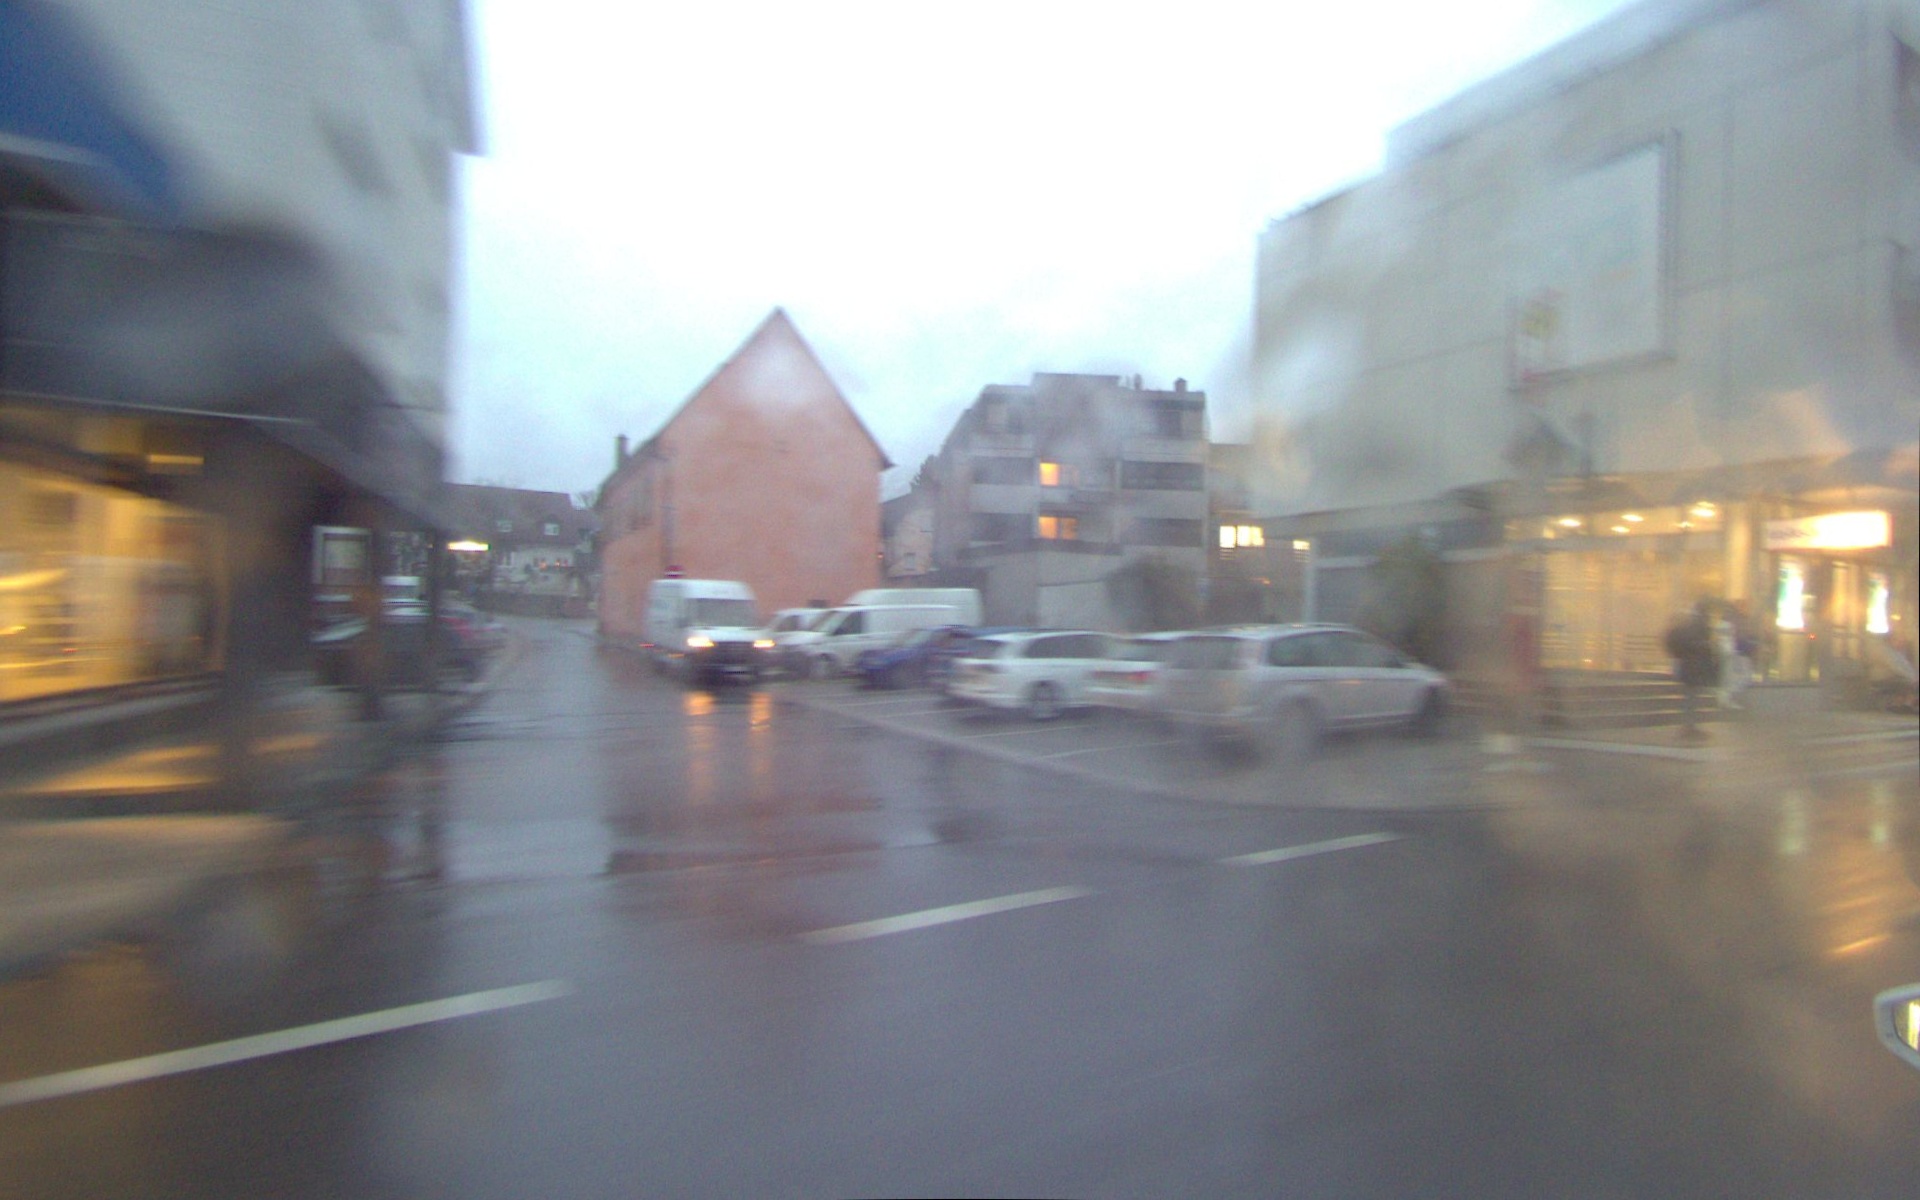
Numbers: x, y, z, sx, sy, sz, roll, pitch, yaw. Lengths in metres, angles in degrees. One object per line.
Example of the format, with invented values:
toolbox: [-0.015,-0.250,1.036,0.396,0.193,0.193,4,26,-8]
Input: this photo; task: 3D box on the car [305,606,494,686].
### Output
car: [-14.420,1.129,25.999,1.679,1.896,3.950,-1,-1,42]

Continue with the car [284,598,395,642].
car: [-27.890,0.882,45.239,1.679,1.909,3.950,-1,-1,42]

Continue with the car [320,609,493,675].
car: [-15.507,1.127,28.270,1.679,1.675,3.950,-1,-1,42]

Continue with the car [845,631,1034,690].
car: [-0.504,1.450,24.842,4.385,1.251,1.694,-1,-1,-22]

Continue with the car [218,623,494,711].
car: [-11.876,1.246,20.004,1.679,1.483,4.426,-1,-1,42]

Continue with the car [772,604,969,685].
car: [-2.401,1.151,27.424,5.098,1.990,1.691,0,-1,-28]

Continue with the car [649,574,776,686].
car: [-6.967,0.831,27.627,1.951,2.697,6.721,2,-2,-26]

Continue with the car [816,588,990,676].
car: [-1.711,0.911,30.779,5.095,2.525,1.692,0,-1,-27]

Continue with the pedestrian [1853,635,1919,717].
pedestrian: [16.111,1.298,17.363,0.819,1.328,0.752,1,1,-30]

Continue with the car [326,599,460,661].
car: [-20.611,1.057,36.625,1.679,2.122,3.950,-1,-1,42]

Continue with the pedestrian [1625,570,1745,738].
pedestrian: [8.954,0.641,12.463,0.957,1.964,1.202,0,-1,23]

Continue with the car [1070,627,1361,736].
car: [4.019,1.179,15.668,4.392,1.419,1.691,0,-1,-27]

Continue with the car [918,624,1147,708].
car: [1.494,1.269,20.471,4.387,1.483,1.694,-1,-1,-24]

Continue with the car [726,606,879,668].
car: [-5.444,1.232,34.828,4.934,1.991,1.788,0,-1,-27]

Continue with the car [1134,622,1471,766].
car: [4.515,1.082,13.036,4.400,1.520,1.754,0,-1,-32]

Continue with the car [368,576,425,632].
car: [-28.612,0.260,51.116,1.972,2.700,4.971,1,-2,-24]

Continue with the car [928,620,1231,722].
car: [2.124,1.152,17.709,4.976,1.520,2.096,0,-1,-26]

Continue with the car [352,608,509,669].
car: [-16.302,1.136,31.064,1.679,1.757,3.950,-1,-1,42]
